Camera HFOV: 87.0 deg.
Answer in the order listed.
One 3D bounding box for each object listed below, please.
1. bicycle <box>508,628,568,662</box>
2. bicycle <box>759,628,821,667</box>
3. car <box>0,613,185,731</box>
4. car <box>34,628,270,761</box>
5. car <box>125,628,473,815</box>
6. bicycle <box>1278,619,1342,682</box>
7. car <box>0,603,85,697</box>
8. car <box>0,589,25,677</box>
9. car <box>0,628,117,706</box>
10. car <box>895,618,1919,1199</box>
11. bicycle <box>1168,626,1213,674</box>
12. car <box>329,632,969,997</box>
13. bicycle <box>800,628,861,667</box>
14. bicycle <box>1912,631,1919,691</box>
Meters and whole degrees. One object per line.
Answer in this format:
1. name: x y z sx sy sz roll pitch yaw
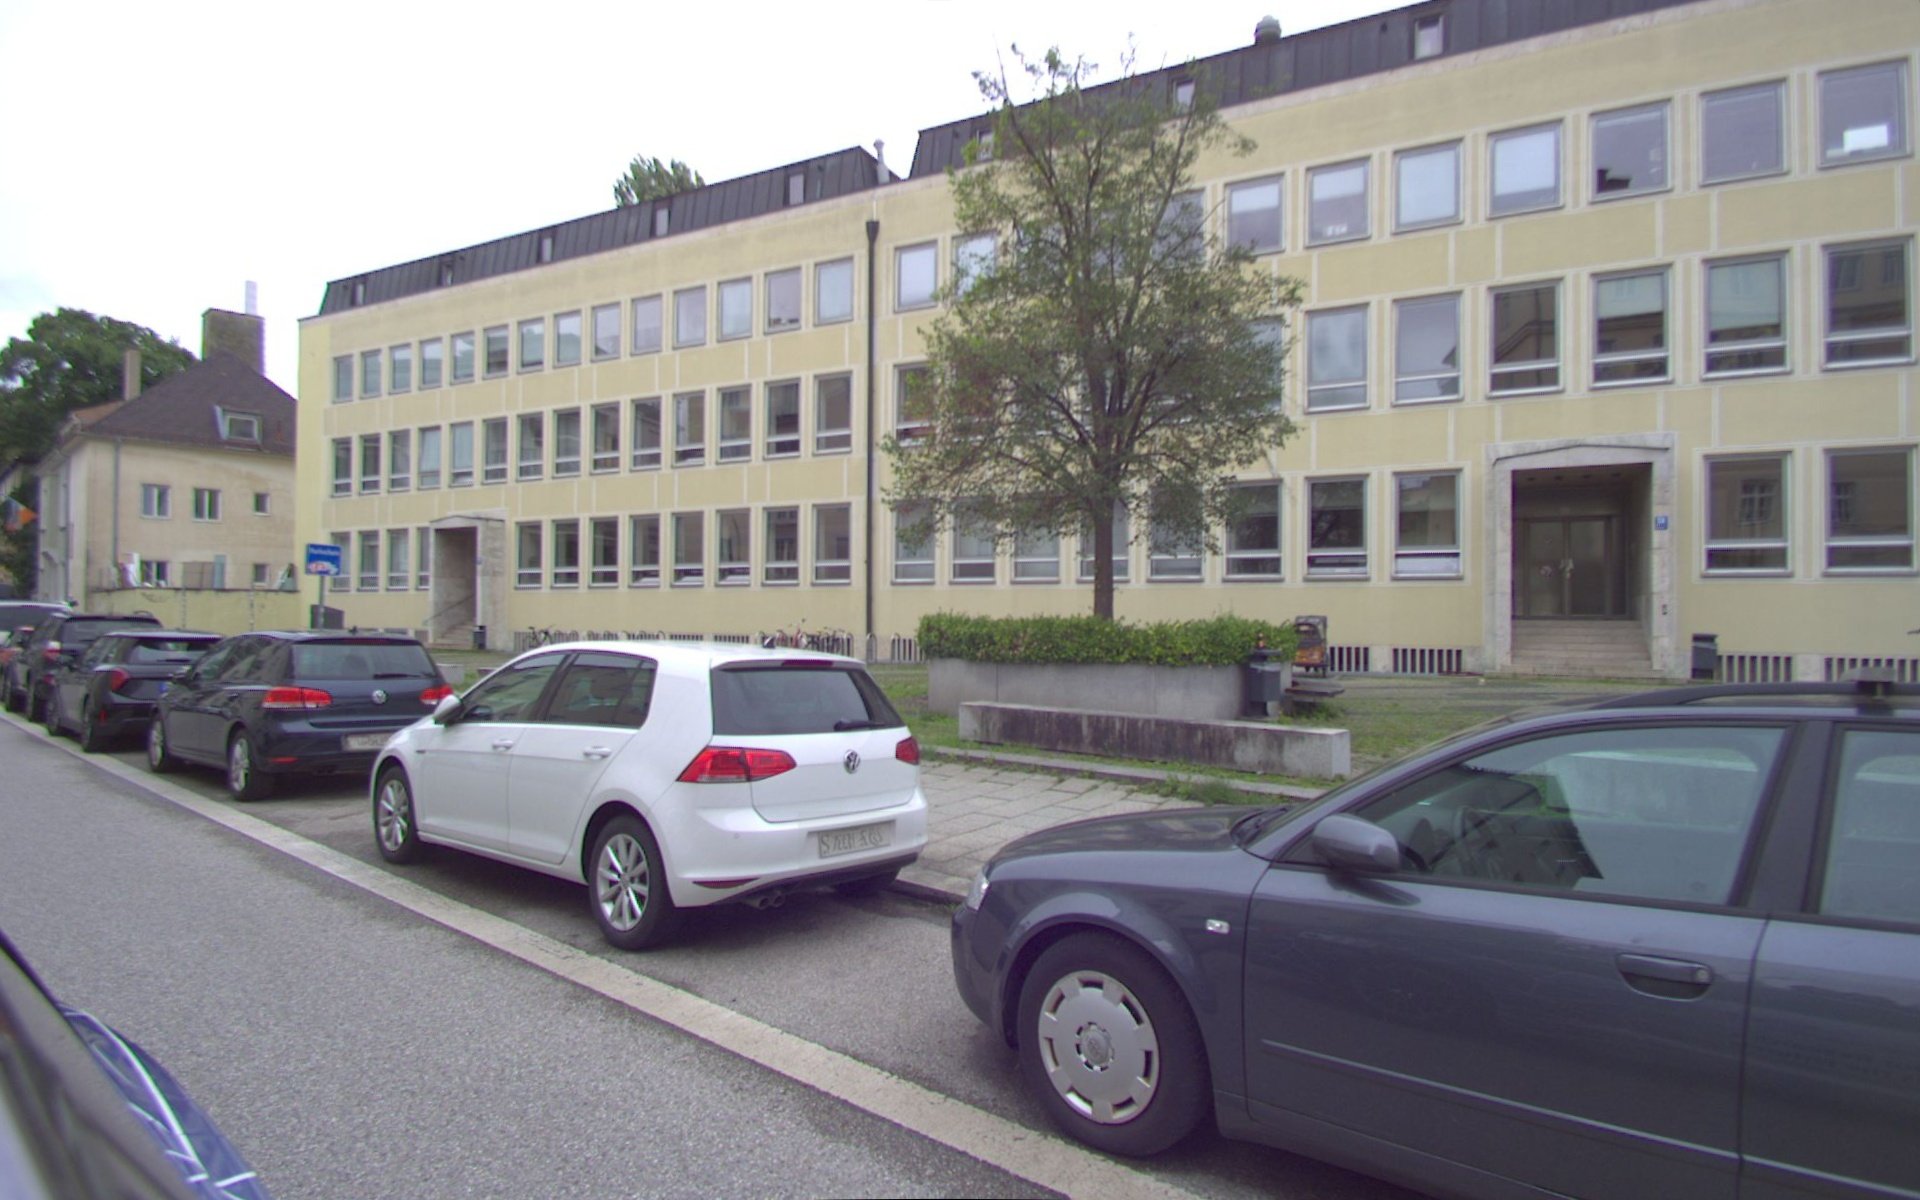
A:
1. bicycle: -13.653 1.449 32.806 0.577 1.022 1.937 -1 0 24
2. bicycle: -4.769 1.321 28.549 0.623 1.022 1.932 -1 -2 31
3. car: -14.437 1.130 16.632 4.446 1.679 1.725 -1 -5 41
4. car: -10.527 1.115 13.098 3.867 1.465 1.663 -1 -4 41
5. car: -6.545 1.031 9.877 3.969 1.465 1.640 -1 -4 39
6. bicycle: 7.459 1.033 21.486 1.050 1.258 2.422 -1 -1 24
7. car: -22.027 1.106 23.324 5.017 1.994 1.909 -1 -3 39
8. car: -31.637 1.036 32.231 5.653 2.666 2.272 -1 -3 43
9. car: -18.442 1.277 20.354 3.917 1.398 1.725 -1 -1 42
10. car: 2.016 0.812 2.640 4.393 1.465 1.737 -1 -4 41
11. bicycle: 5.229 1.103 22.860 0.622 1.022 1.937 -1 -1 24
12. car: -2.050 0.955 6.073 4.068 1.465 1.640 -1 -4 39
13. bicycle: -3.539 1.284 27.816 0.623 1.022 1.932 -1 -2 31
14. bicycle: 16.194 1.021 16.434 0.623 1.022 1.932 -1 -2 31
